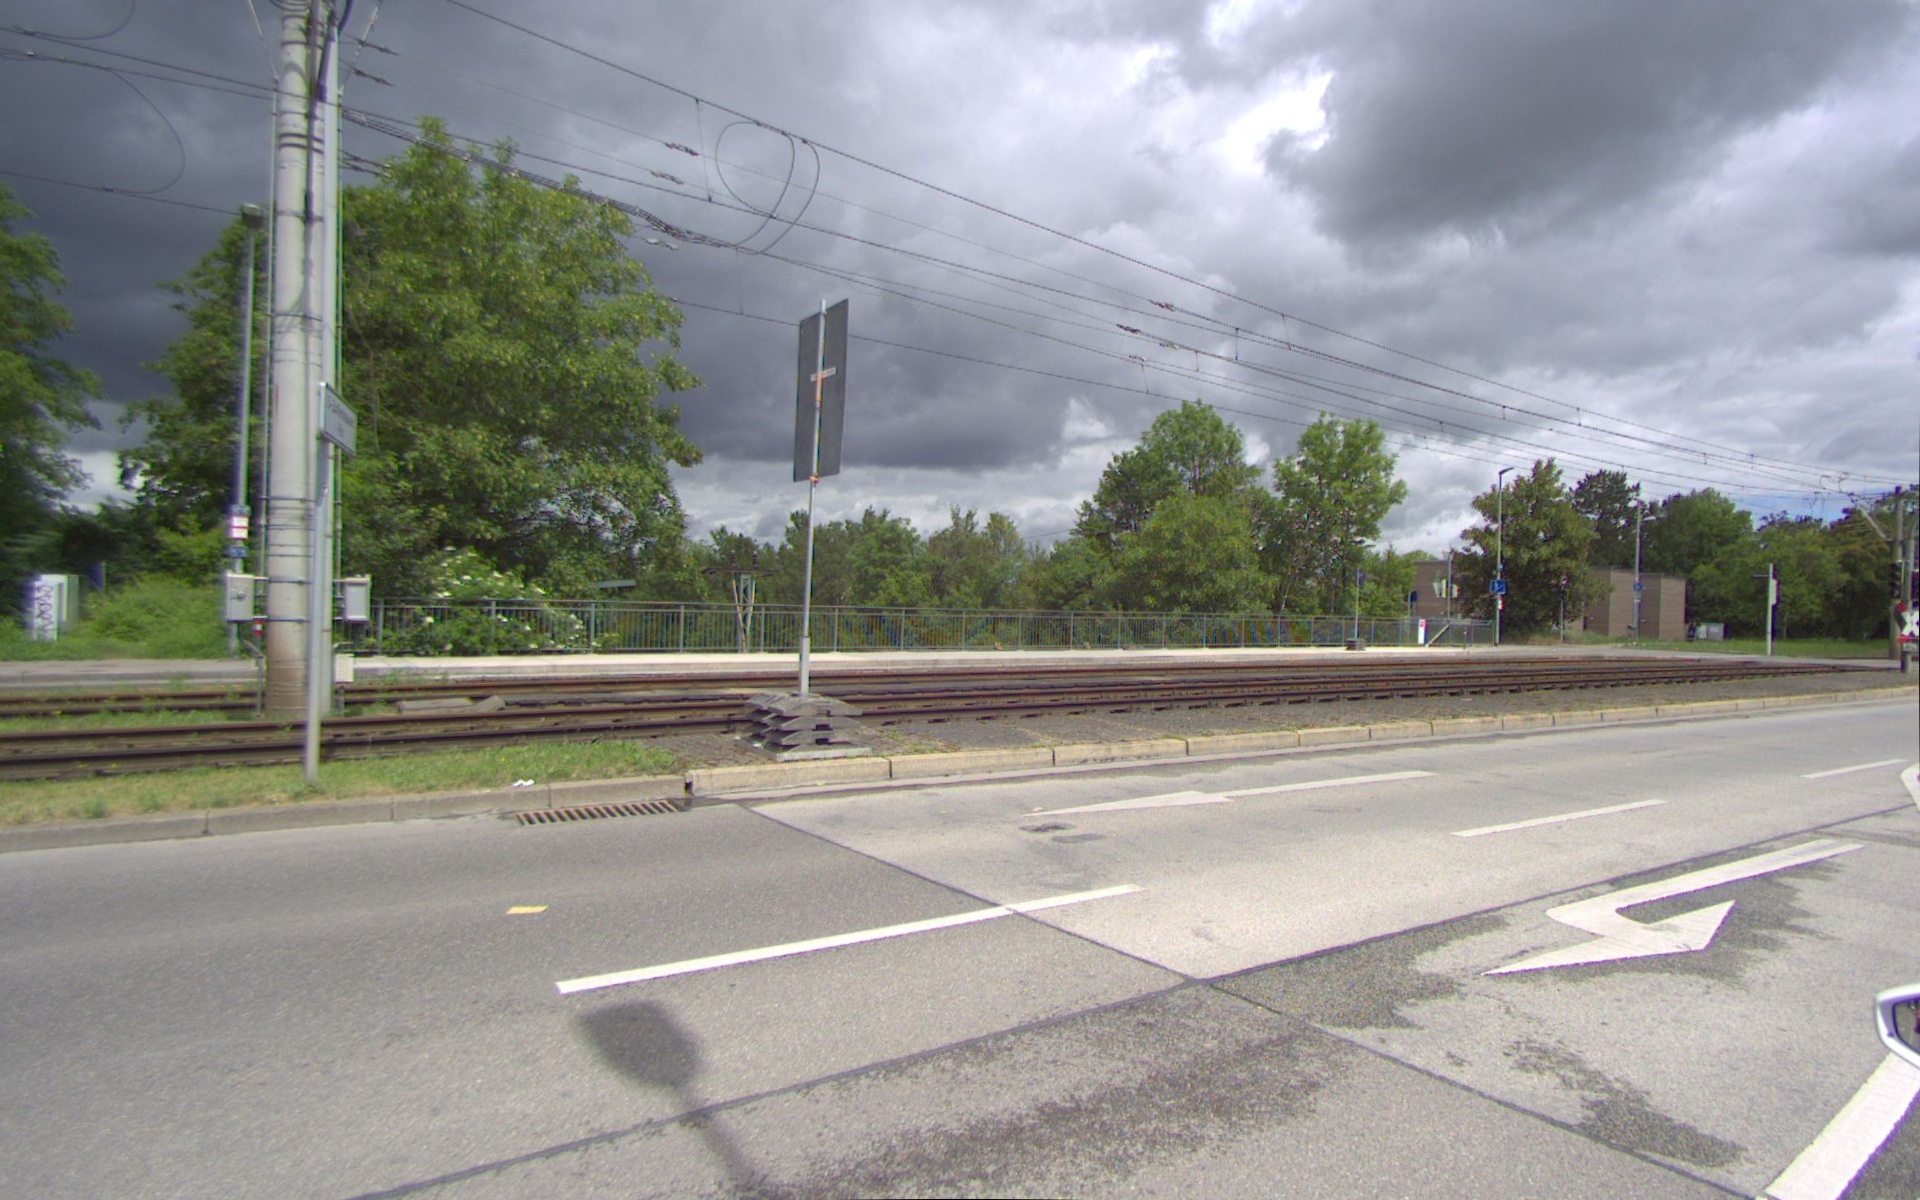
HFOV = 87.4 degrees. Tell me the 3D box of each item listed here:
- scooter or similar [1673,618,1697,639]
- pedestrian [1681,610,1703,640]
[{"bbox_3d":[45.532,1.785,63.048,0.962,1.200,0.885,1,2,-32],"label":"scooter or similar"},{"bbox_3d":[46.280,1.578,63.473,0.799,1.836,0.797,1,2,-31],"label":"pedestrian"}]
